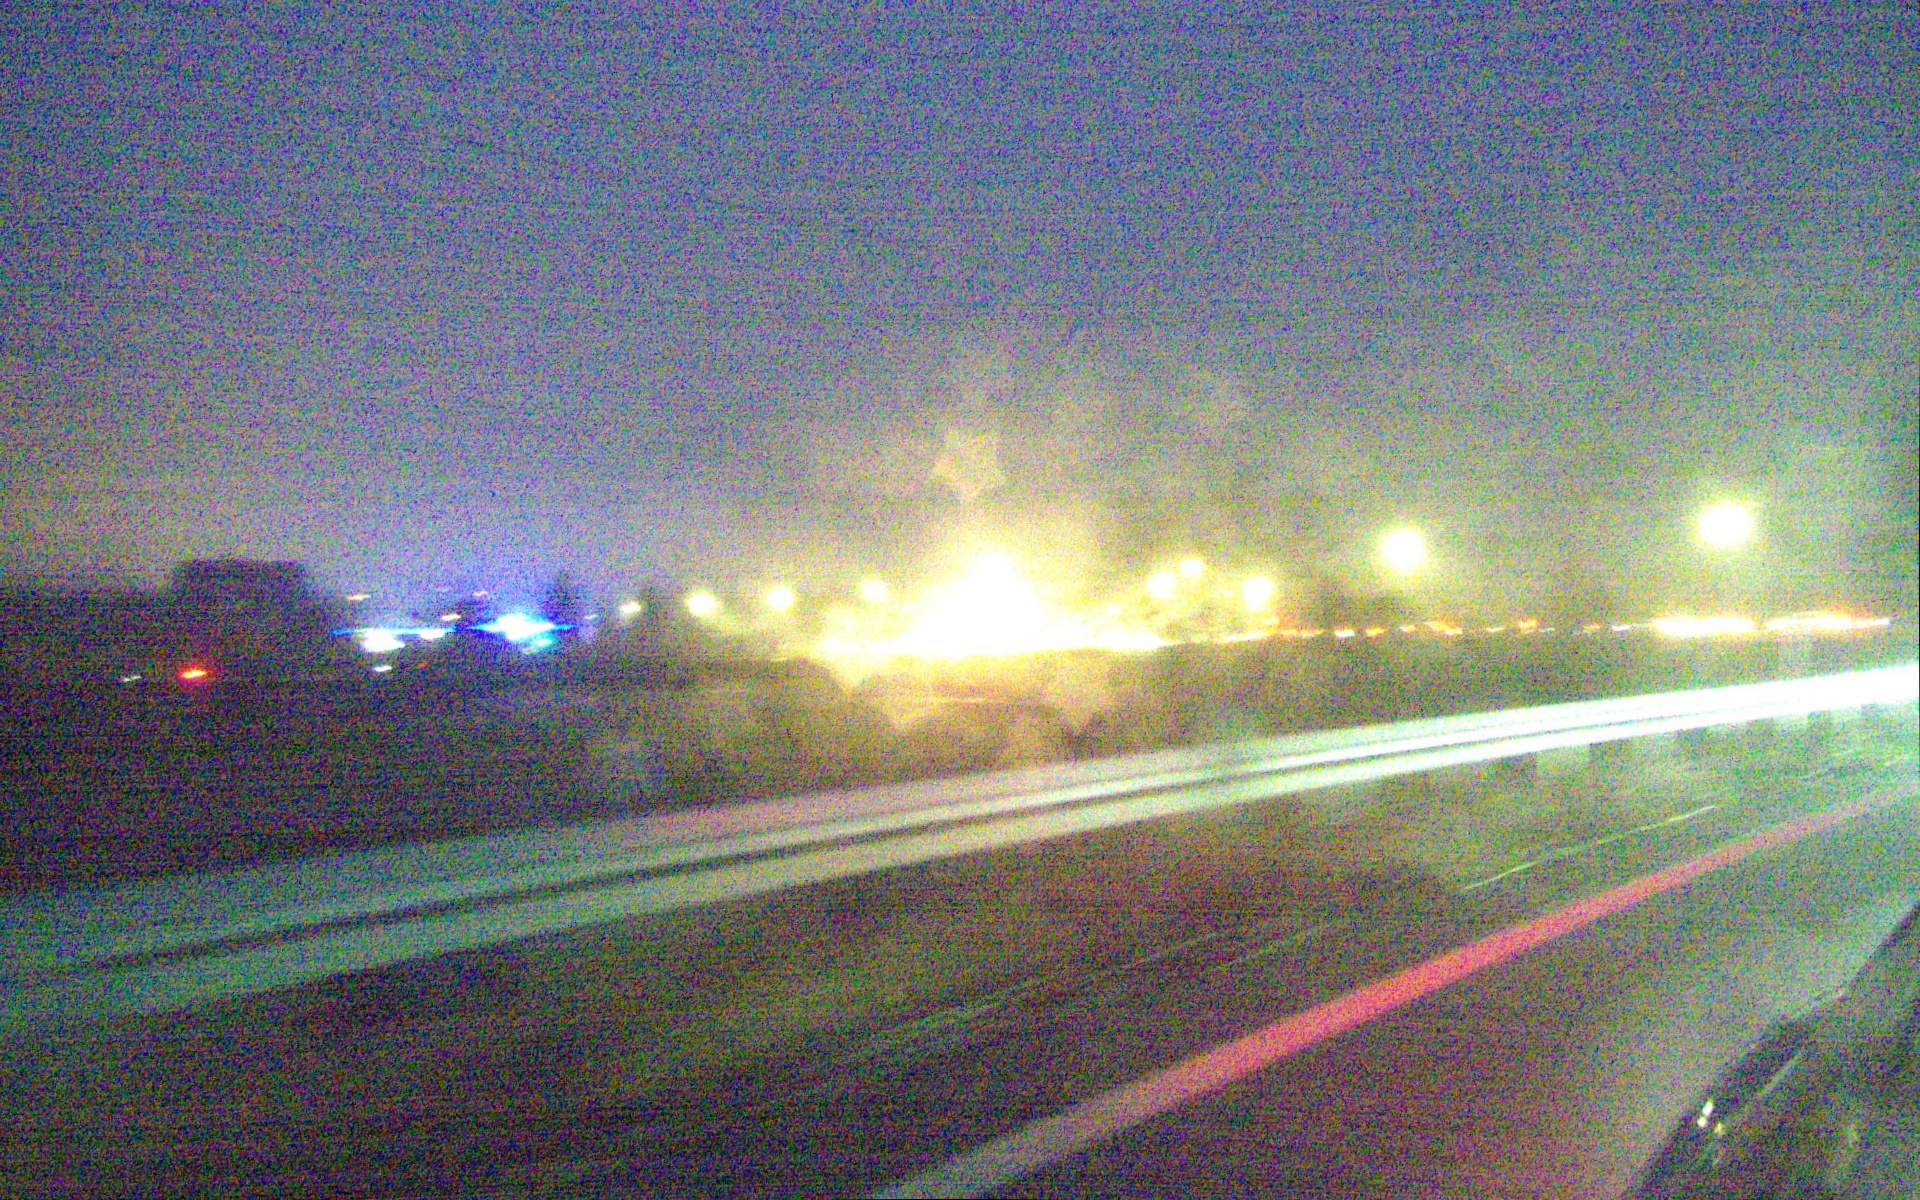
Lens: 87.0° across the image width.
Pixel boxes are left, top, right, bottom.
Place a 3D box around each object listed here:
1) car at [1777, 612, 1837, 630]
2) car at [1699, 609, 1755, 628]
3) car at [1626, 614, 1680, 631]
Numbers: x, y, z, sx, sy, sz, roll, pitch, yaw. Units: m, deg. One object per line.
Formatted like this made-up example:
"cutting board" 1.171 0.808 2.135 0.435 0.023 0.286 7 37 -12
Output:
"car" 74.388 1.861 88.898 3.982 1.460 1.693 -3 -3 41
"car" 71.828 1.723 94.796 3.987 1.459 1.692 3 0 43
"car" 66.017 2.120 96.429 3.984 1.460 1.691 -4 -5 43
